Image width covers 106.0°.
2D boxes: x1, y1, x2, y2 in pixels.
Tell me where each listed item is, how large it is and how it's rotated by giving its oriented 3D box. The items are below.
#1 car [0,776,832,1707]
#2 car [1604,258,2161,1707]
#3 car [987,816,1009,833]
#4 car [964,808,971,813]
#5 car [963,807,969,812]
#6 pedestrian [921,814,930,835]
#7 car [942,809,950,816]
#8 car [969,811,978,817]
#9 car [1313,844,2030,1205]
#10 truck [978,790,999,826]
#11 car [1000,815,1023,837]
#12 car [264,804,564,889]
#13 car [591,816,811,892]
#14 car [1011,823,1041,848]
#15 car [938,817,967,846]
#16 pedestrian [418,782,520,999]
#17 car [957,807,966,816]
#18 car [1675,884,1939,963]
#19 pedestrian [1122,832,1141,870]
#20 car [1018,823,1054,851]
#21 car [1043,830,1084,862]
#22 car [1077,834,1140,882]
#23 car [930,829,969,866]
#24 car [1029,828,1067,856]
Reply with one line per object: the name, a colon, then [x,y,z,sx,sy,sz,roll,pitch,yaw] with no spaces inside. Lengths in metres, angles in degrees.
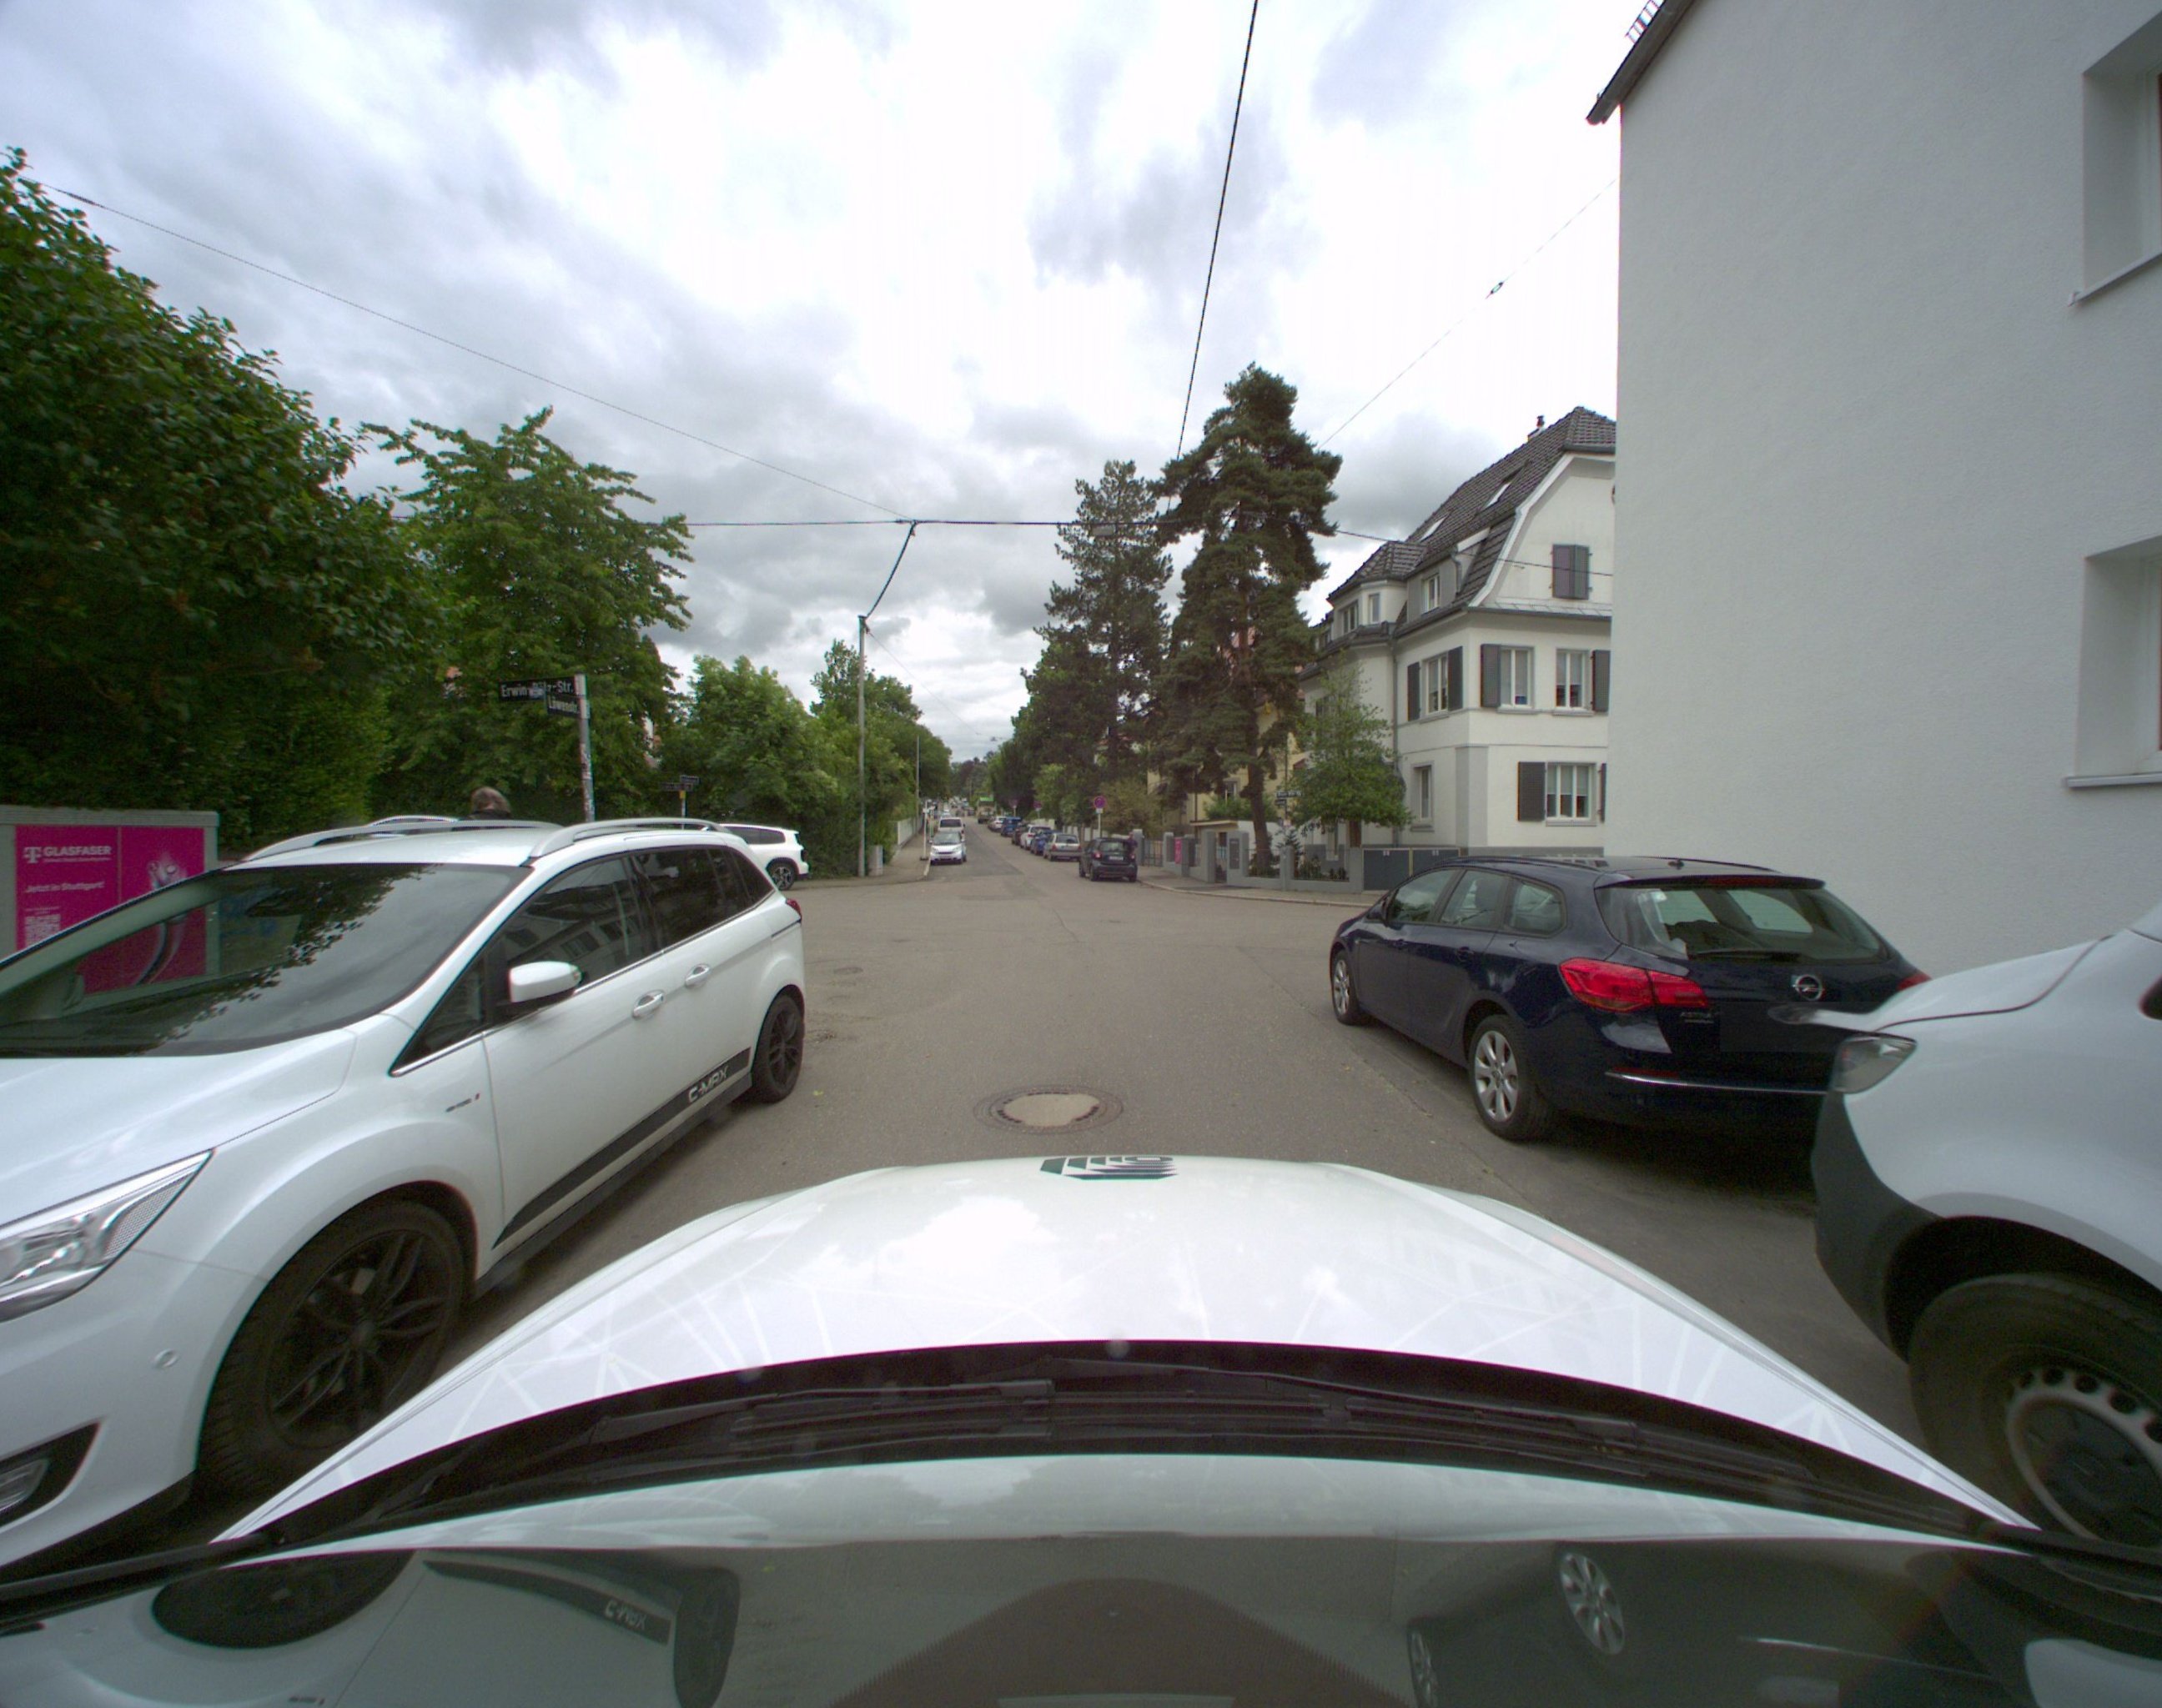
car: [-2.632,0.654,3.363,1.797,1.659,4.153,-1,2,1]
car: [2.674,0.246,0.128,1.985,2.422,5.297,0,0,3]
car: [-8.536,-3.075,83.435,1.759,1.605,4.556,1,3,-13]
car: [-31.353,-12.012,225.135,1.810,1.335,3.621,2,4,-11]
car: [-33.077,-12.747,233.810,1.788,1.529,3.725,1,3,-8]
pedestrian: [-15.245,-2.869,80.077,0.811,2.013,0.858,0,3,-9]
car: [-33.052,-10.235,199.646,1.710,1.585,3.992,1,3,-7]
car: [-24.153,-8.961,182.425,1.779,1.488,3.987,0,3,-11]
car: [3.088,0.693,5.559,1.812,1.485,4.286,0,1,0]
truck: [-12.989,-6.451,113.706,2.523,4.746,7.168,1,3,-9]
car: [-6.259,-2.534,73.038,1.683,1.828,4.144,2,3,-10]
car: [-13.981,-0.145,17.403,4.508,1.437,1.825,4,0,-16]
car: [-9.239,0.010,20.089,1.812,1.655,4.541,3,1,44]
car: [-3.988,-1.365,58.689,1.750,1.607,4.063,2,2,-10]
car: [-9.137,-1.672,57.956,1.854,1.912,4.606,-2,3,-9]
pedestrian: [-5.317,0.282,7.109,0.647,1.759,0.814,1,2,-35]
car: [-25.225,-9.009,171.661,1.634,1.700,3.483,1,4,-10]
car: [15.831,1.488,17.944,4.169,1.443,1.673,2,-2,6]
pedestrian: [2.133,-0.125,34.435,0.679,1.577,0.905,-2,1,-4]
car: [-2.965,-1.144,53.084,1.785,1.603,4.290,2,3,-11]
car: [-0.937,-0.440,41.801,1.573,1.400,3.645,2,3,-9]
car: [0.952,0.116,29.689,1.573,1.531,2.857,2,2,-12]
car: [-6.243,-0.337,38.899,1.439,1.551,2.768,-3,3,-3]
car: [-1.933,-0.718,46.845,1.647,1.458,4.040,1,2,-9]
